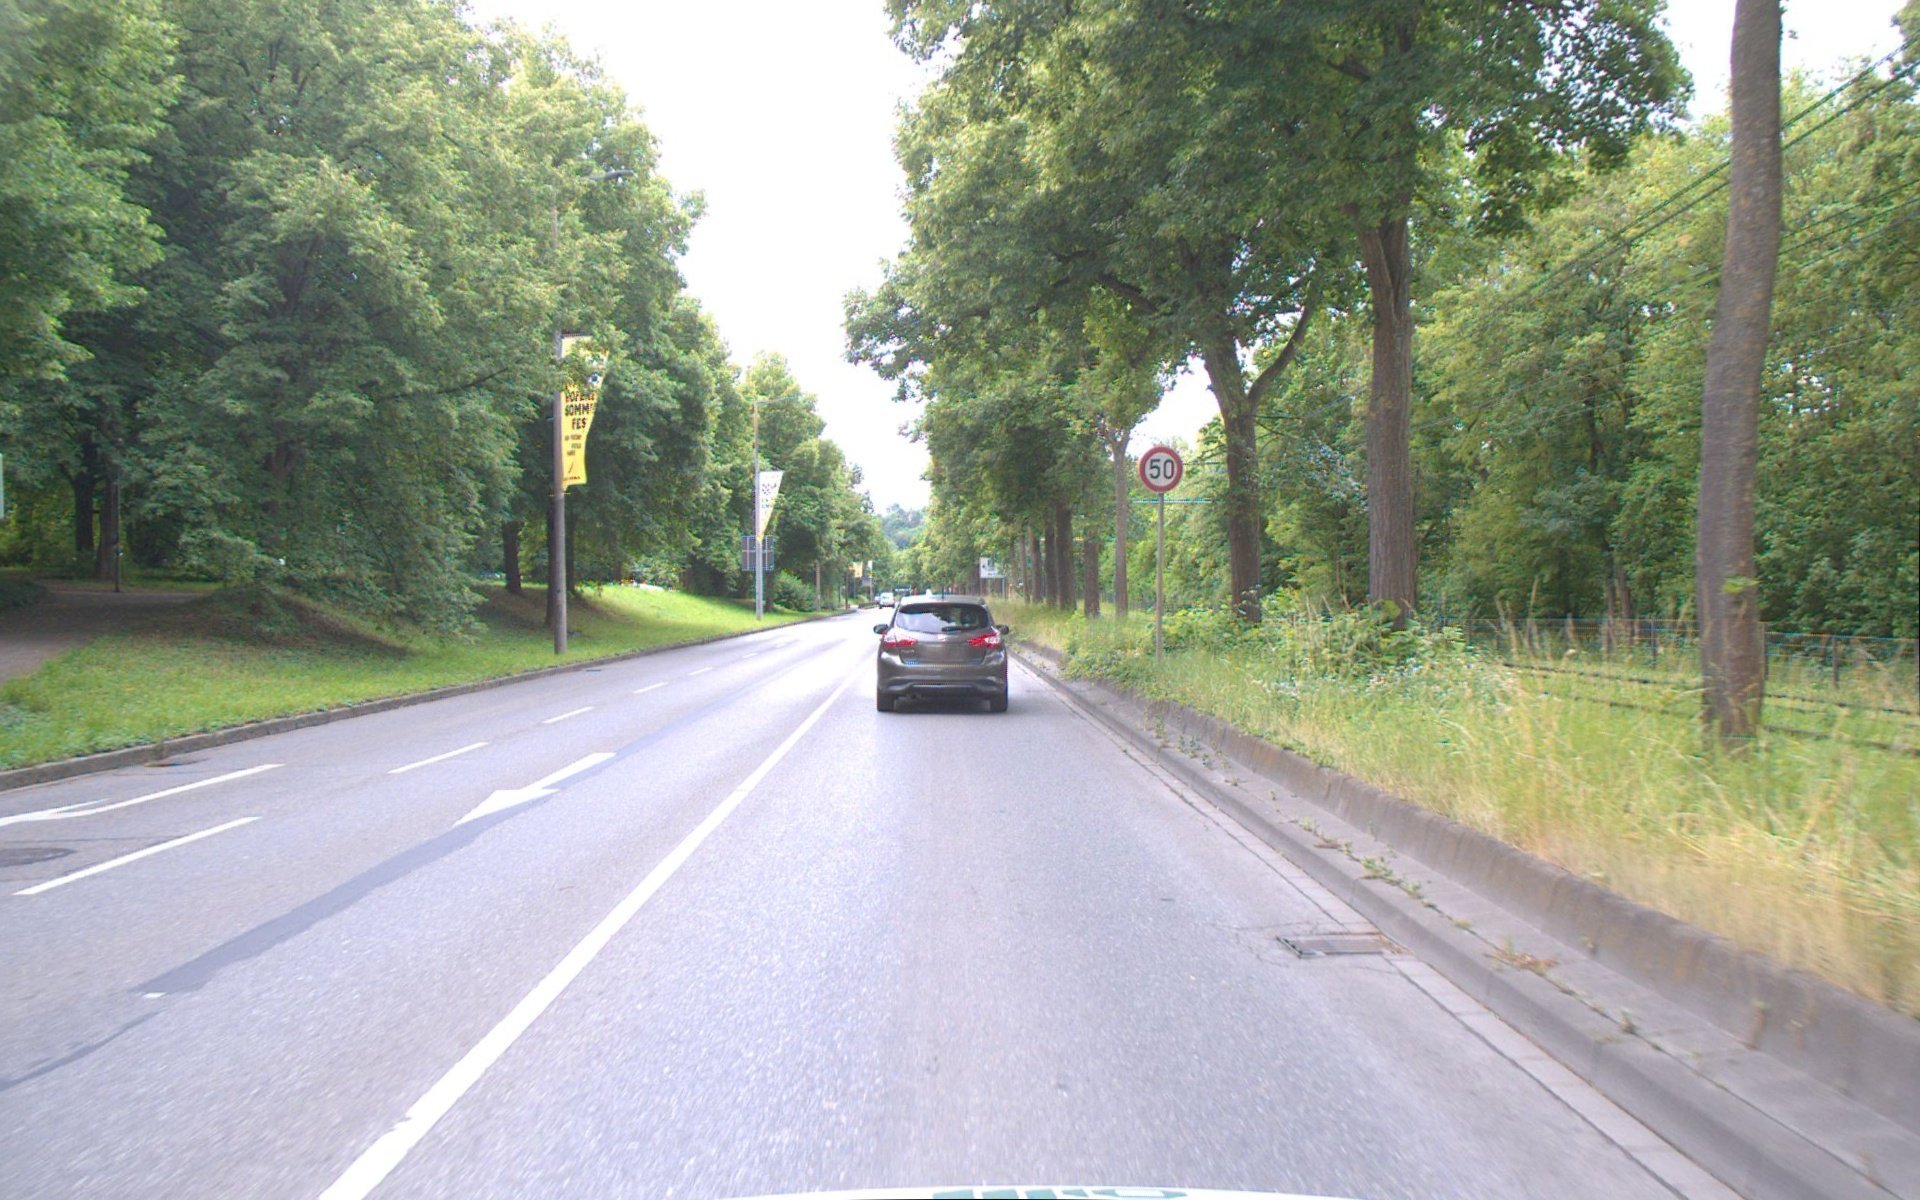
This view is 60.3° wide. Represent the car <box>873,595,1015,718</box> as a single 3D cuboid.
[{"bbox_3d":[-0.184,0.724,23.086,1.799,1.555,3.929,0,0,1],"label":"car"}]
